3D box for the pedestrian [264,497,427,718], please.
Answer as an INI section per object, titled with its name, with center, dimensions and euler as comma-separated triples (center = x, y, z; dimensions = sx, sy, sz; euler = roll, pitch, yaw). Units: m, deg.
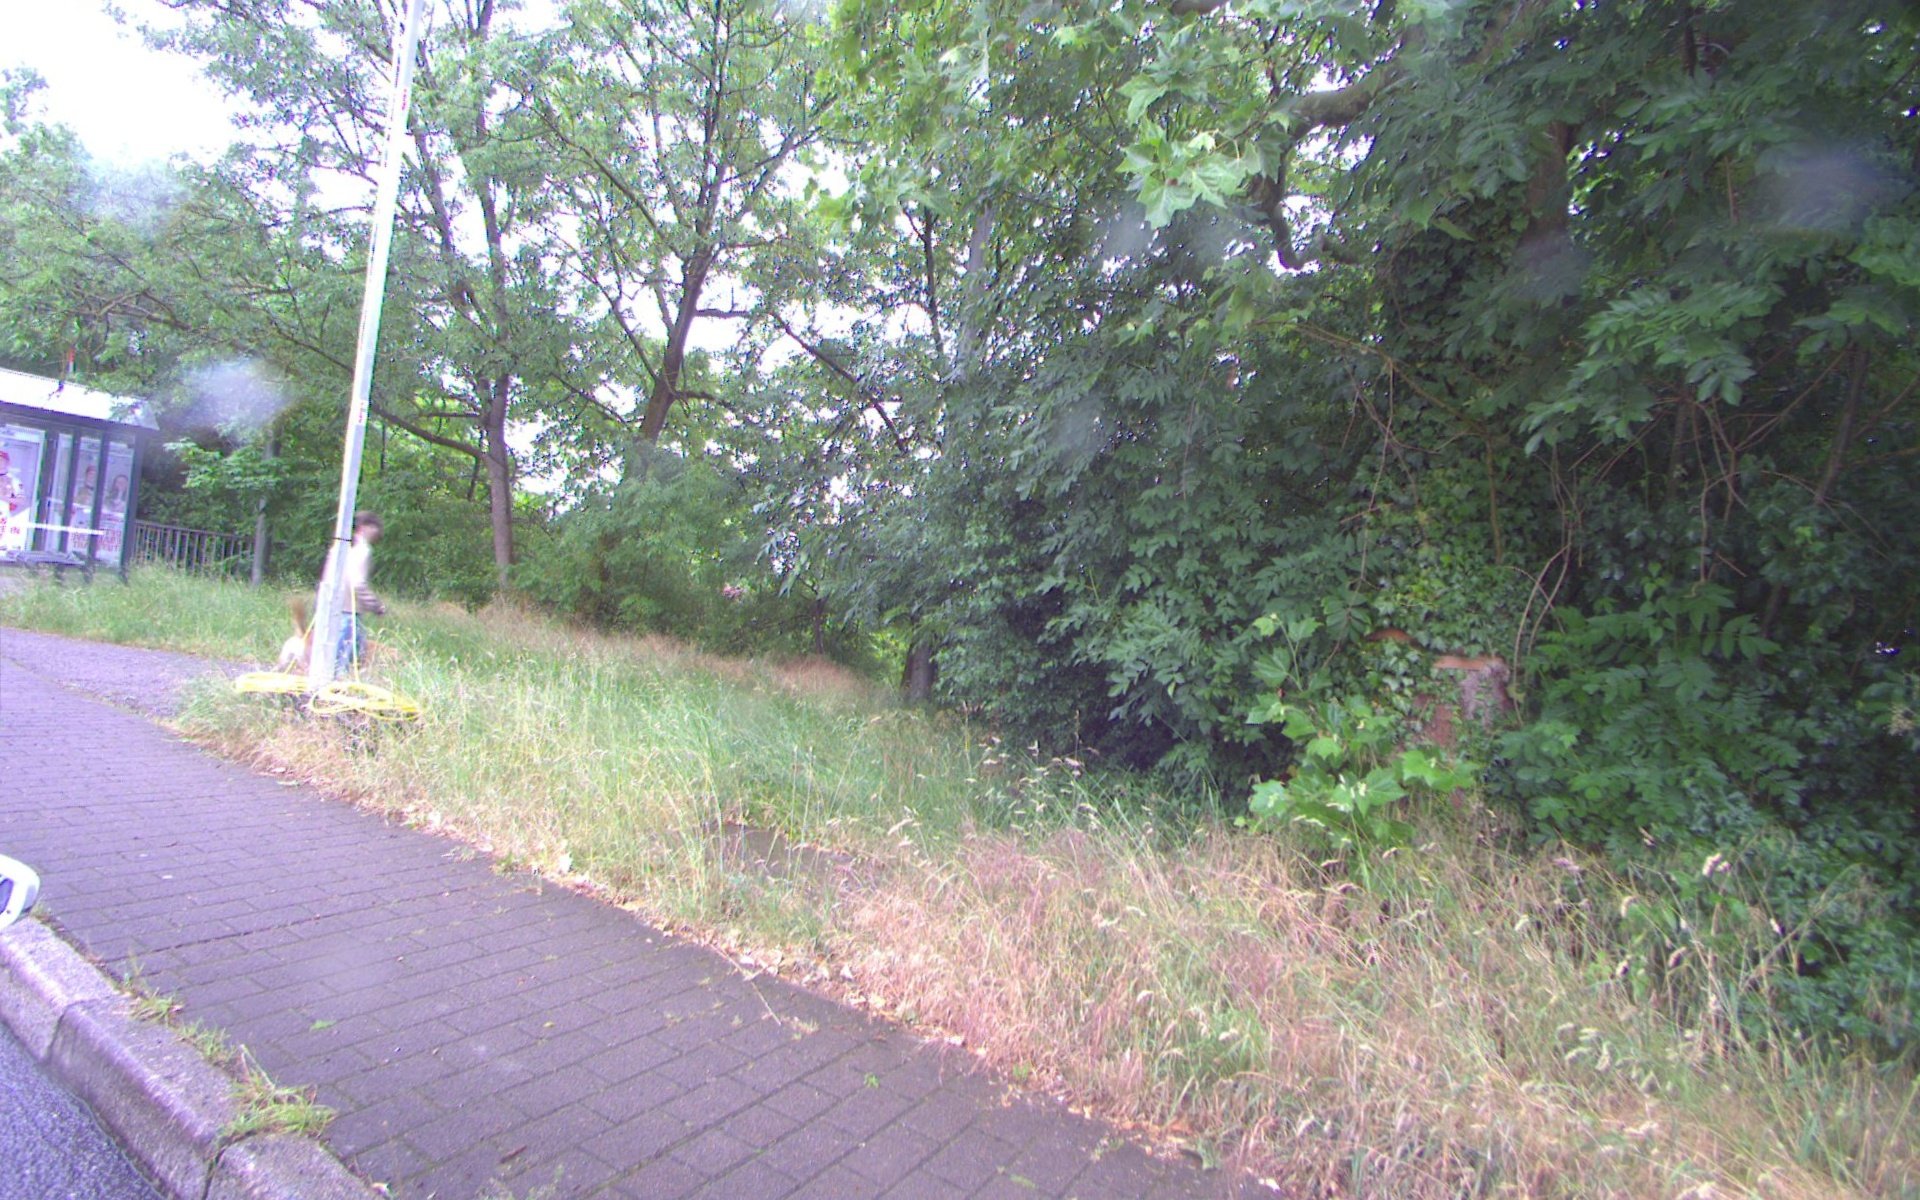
[pedestrian]
center = -4.847, 0.065, 7.941
dimensions = 0.722, 1.622, 0.749
euler = 6, -1, 41
